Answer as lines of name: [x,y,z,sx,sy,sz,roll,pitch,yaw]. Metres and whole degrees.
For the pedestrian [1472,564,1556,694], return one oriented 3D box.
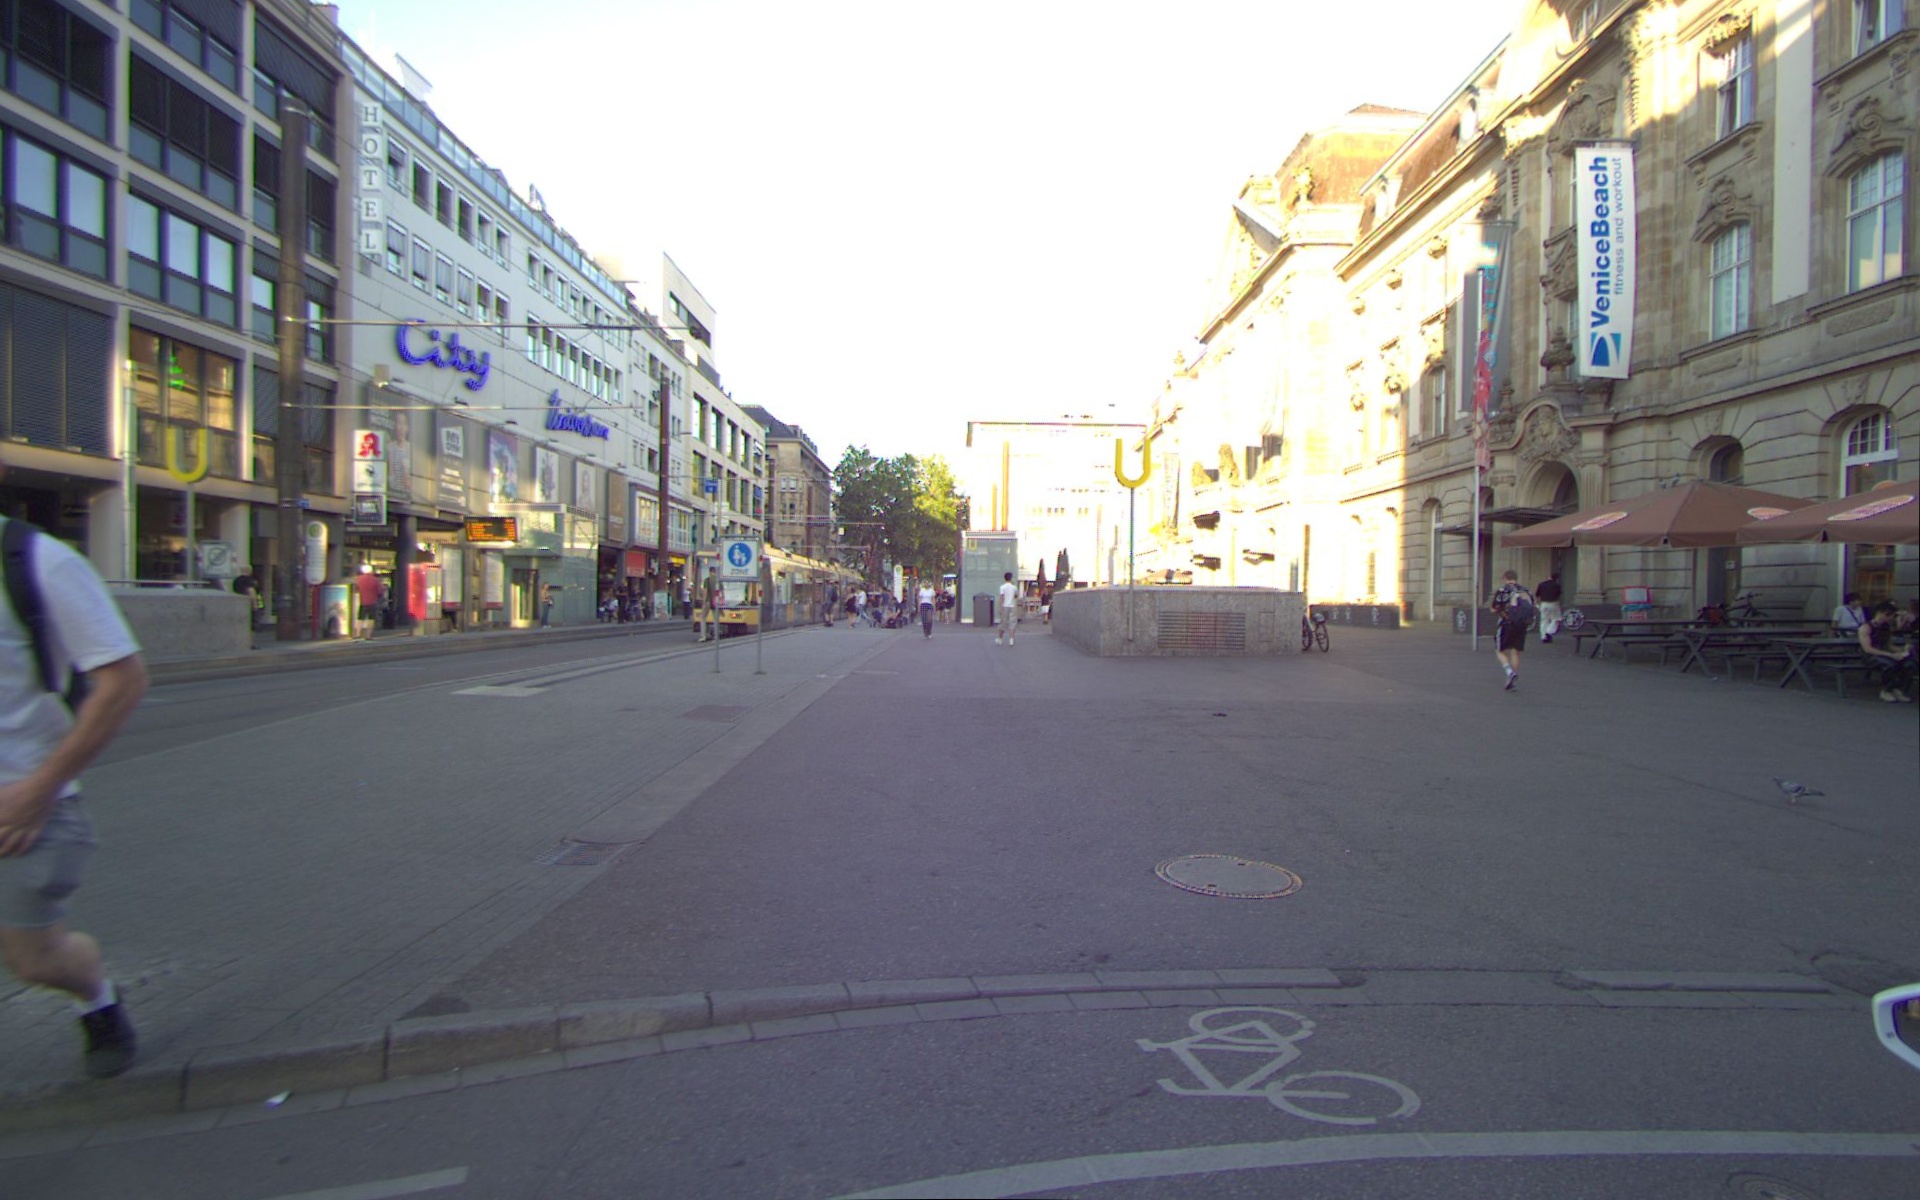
pedestrian: [8.131,0.410,14.782,0.795,1.848,0.806,0,1,5]

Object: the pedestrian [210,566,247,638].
pedestrian: [-16.743,0.055,22.980,0.623,1.609,0.598,1,0,-42]

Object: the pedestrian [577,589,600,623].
pedestrian: [-15.720,0.256,42.547,0.695,1.397,0.720,1,0,-1]

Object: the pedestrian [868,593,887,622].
pedestrian: [-3.569,0.329,43.257,0.779,1.238,0.769,1,1,-3]

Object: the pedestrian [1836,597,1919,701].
pedestrian: [13.146,0.677,14.252,0.790,1.402,0.653,2,3,11]

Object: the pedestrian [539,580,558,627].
pedestrian: [-14.415,0.132,35.197,0.503,1.639,0.504,1,0,-9]

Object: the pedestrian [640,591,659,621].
pedestrian: [-14.975,0.290,48.406,0.695,1.397,0.720,1,0,-1]

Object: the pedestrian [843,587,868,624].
pedestrian: [-4.553,0.235,43.936,0.755,1.600,0.793,1,1,30]

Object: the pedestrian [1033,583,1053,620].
pedestrian: [4.128,0.074,49.970,0.760,1.848,0.850,1,1,19]

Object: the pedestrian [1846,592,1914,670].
pedestrian: [16.232,0.539,17.738,0.582,1.326,0.582,1,3,-2]

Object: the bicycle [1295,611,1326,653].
bicycle: [7.658,0.681,21.984,0.310,0.879,1.000,0,1,-1]

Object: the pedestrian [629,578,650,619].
pedestrian: [-13.731,-0.057,42.984,0.701,1.748,0.769,1,0,-29]

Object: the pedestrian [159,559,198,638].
pedestrian: [-17.520,-0.029,22.522,0.624,1.748,0.597,1,0,-43]

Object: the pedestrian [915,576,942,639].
pedestrian: [-0.950,0.229,30.054,0.760,1.848,0.939,-1,0,-3]

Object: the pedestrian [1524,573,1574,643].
pedestrian: [13.765,0.160,23.468,0.837,1.587,0.846,2,3,40]

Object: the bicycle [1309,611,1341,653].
bicycle: [7.979,0.681,21.986,0.310,0.879,1.000,0,1,-1]

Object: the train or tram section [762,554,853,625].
train or tram section: [-7.975,-0.536,54.840,2.754,3.364,14.507,1,0,0]

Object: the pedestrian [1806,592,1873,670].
pedestrian: [15.582,0.540,17.806,0.582,1.326,0.581,1,3,-4]

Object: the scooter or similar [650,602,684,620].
scooter or similar: [-14.158,0.530,48.517,0.550,0.842,1.519,0,-1,39]

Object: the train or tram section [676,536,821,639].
train or tram section: [-7.959,-0.452,40.339,2.754,3.364,14.507,1,0,0]

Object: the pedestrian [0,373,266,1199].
pedestrian: [-2.346,0.481,2.371,1.004,1.888,1.035,1,0,-28]

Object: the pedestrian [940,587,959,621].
pedestrian: [-0.517,0.194,50.757,0.778,1.683,0.769,1,1,12]

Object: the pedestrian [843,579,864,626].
pedestrian: [-4.300,0.090,40.524,0.723,1.848,0.817,1,1,-14]

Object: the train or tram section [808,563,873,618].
train or tram section: [-7.998,-0.624,69.310,2.754,3.364,14.507,1,0,0]

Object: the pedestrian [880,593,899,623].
pedestrian: [-2.979,0.342,42.451,0.779,1.238,0.769,1,1,-3]

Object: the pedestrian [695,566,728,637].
pedestrian: [-6.194,0.046,25.018,0.710,1.748,0.706,1,0,-21]

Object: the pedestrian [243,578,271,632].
pedestrian: [-20.918,0.148,29.893,0.500,1.568,0.517,1,0,-8]

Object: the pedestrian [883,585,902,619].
pedestrian: [-3.399,0.120,50.624,0.778,1.683,0.769,1,1,12]

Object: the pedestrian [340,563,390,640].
pedestrian: [-13.651,0.042,23.073,0.702,1.720,0.785,1,0,-6]

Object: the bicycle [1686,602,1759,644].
bicycle: [16.587,0.494,21.861,1.297,0.906,0.410,0,1,-4]

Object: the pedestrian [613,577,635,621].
pedestrian: [-13.755,-0.036,41.152,0.701,1.748,0.769,1,0,-30]

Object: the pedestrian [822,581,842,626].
pedestrian: [-5.333,0.130,41.748,0.723,1.848,0.817,1,1,-14]

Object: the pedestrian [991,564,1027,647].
pedestrian: [1.259,0.138,25.624,0.757,2.040,0.918,1,0,12]

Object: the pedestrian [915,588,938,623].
pedestrian: [-1.636,0.258,48.638,0.763,1.683,0.785,0,1,-41]

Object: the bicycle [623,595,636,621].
bicycle: [-15.448,0.364,46.973,0.428,1.157,1.609,0,1,-24]

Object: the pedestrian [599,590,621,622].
pedestrian: [-15.556,0.265,44.648,0.695,1.397,0.720,1,0,-1]

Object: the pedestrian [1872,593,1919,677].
pedestrian: [15.721,0.572,16.638,0.597,1.326,0.608,1,3,-4]

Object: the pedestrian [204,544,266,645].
pedestrian: [-14.280,-0.097,19.795,0.702,1.950,0.709,1,0,-5]

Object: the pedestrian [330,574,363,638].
pedestrian: [-15.572,0.155,25.512,0.596,1.609,0.625,1,0,-20]

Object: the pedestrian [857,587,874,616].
pedestrian: [-5.482,0.093,58.155,0.753,1.683,0.795,1,1,12]

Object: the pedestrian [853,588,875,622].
pedestrian: [-4.593,0.245,48.048,0.755,1.600,0.793,1,1,30]

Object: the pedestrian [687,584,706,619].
pedestrian: [-13.200,0.076,50.268,0.760,1.748,0.709,0,0,0]

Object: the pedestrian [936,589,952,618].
pedestrian: [-0.915,0.203,58.415,0.778,1.683,0.769,1,1,12]
